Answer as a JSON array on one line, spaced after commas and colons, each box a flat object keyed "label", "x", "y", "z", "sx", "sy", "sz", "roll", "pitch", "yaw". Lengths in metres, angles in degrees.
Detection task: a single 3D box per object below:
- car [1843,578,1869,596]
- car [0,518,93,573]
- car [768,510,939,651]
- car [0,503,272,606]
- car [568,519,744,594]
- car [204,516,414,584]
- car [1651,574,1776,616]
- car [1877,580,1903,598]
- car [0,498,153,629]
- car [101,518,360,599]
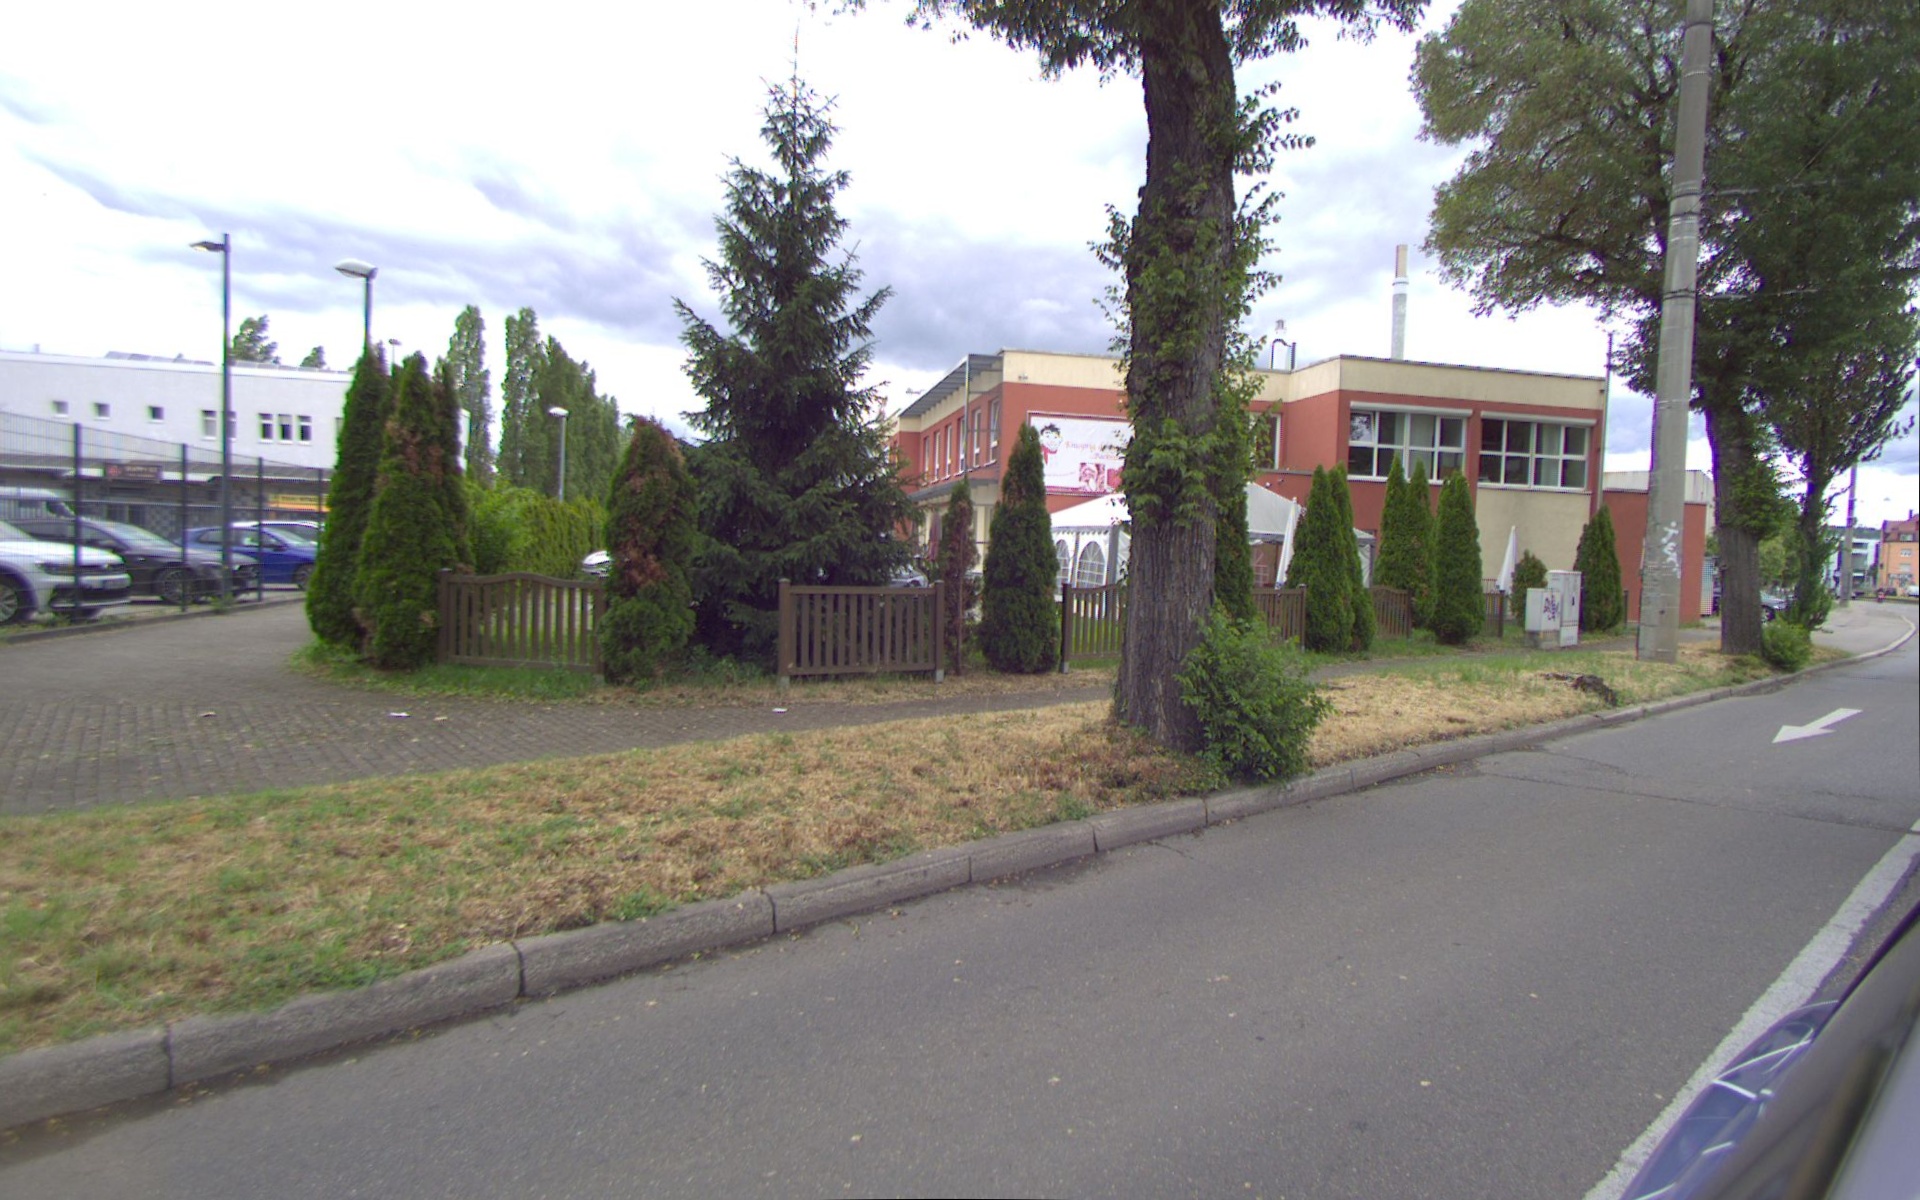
[{"label": "car", "x": 101.335, "y": -1.485, "z": 114.460, "sx": 1.903, "sy": 1.737, "sz": 4.072, "roll": 10, "pitch": 9, "yaw": 43}, {"label": "car", "x": -30.808, "y": -1.716, "z": 32.374, "sx": 4.181, "sy": 1.670, "sz": 2.004, "roll": -1, "pitch": 1, "yaw": -17}, {"label": "car", "x": -1.907, "y": -0.321, "z": 16.835, "sx": 1.958, "sy": 2.039, "sz": 4.008, "roll": -1, "pitch": 1, "yaw": -19}, {"label": "car", "x": -15.164, "y": -0.810, "z": 18.023, "sx": 4.407, "sy": 1.685, "sz": 2.005, "roll": 1, "pitch": 3, "yaw": -14}, {"label": "car", "x": -7.752, "y": -1.070, "z": 25.984, "sx": 3.931, "sy": 1.772, "sz": 1.852, "roll": -1, "pitch": 1, "yaw": -41}, {"label": "car", "x": -17.579, "y": -1.355, "z": 27.562, "sx": 4.407, "sy": 1.685, "sz": 2.005, "roll": 1, "pitch": 3, "yaw": -14}, {"label": "car", "x": 31.349, "y": -0.233, "z": 42.157, "sx": 3.986, "sy": 1.666, "sz": 1.867, "roll": 0, "pitch": 1, "yaw": 43}, {"label": "car", "x": 92.090, "y": -1.078, "z": 100.194, "sx": 1.864, "sy": 1.772, "sz": 3.937, "roll": 0, "pitch": 1, "yaw": 44}, {"label": "car", "x": -14.041, "y": -0.544, "z": 13.717, "sx": 4.407, "sy": 1.685, "sz": 2.005, "roll": 1, "pitch": 3, "yaw": -14}, {"label": "car", "x": -16.623, "y": -0.943, "z": 23.329, "sx": 4.407, "sy": 1.685, "sz": 2.005, "roll": 1, "pitch": 3, "yaw": -14}]
